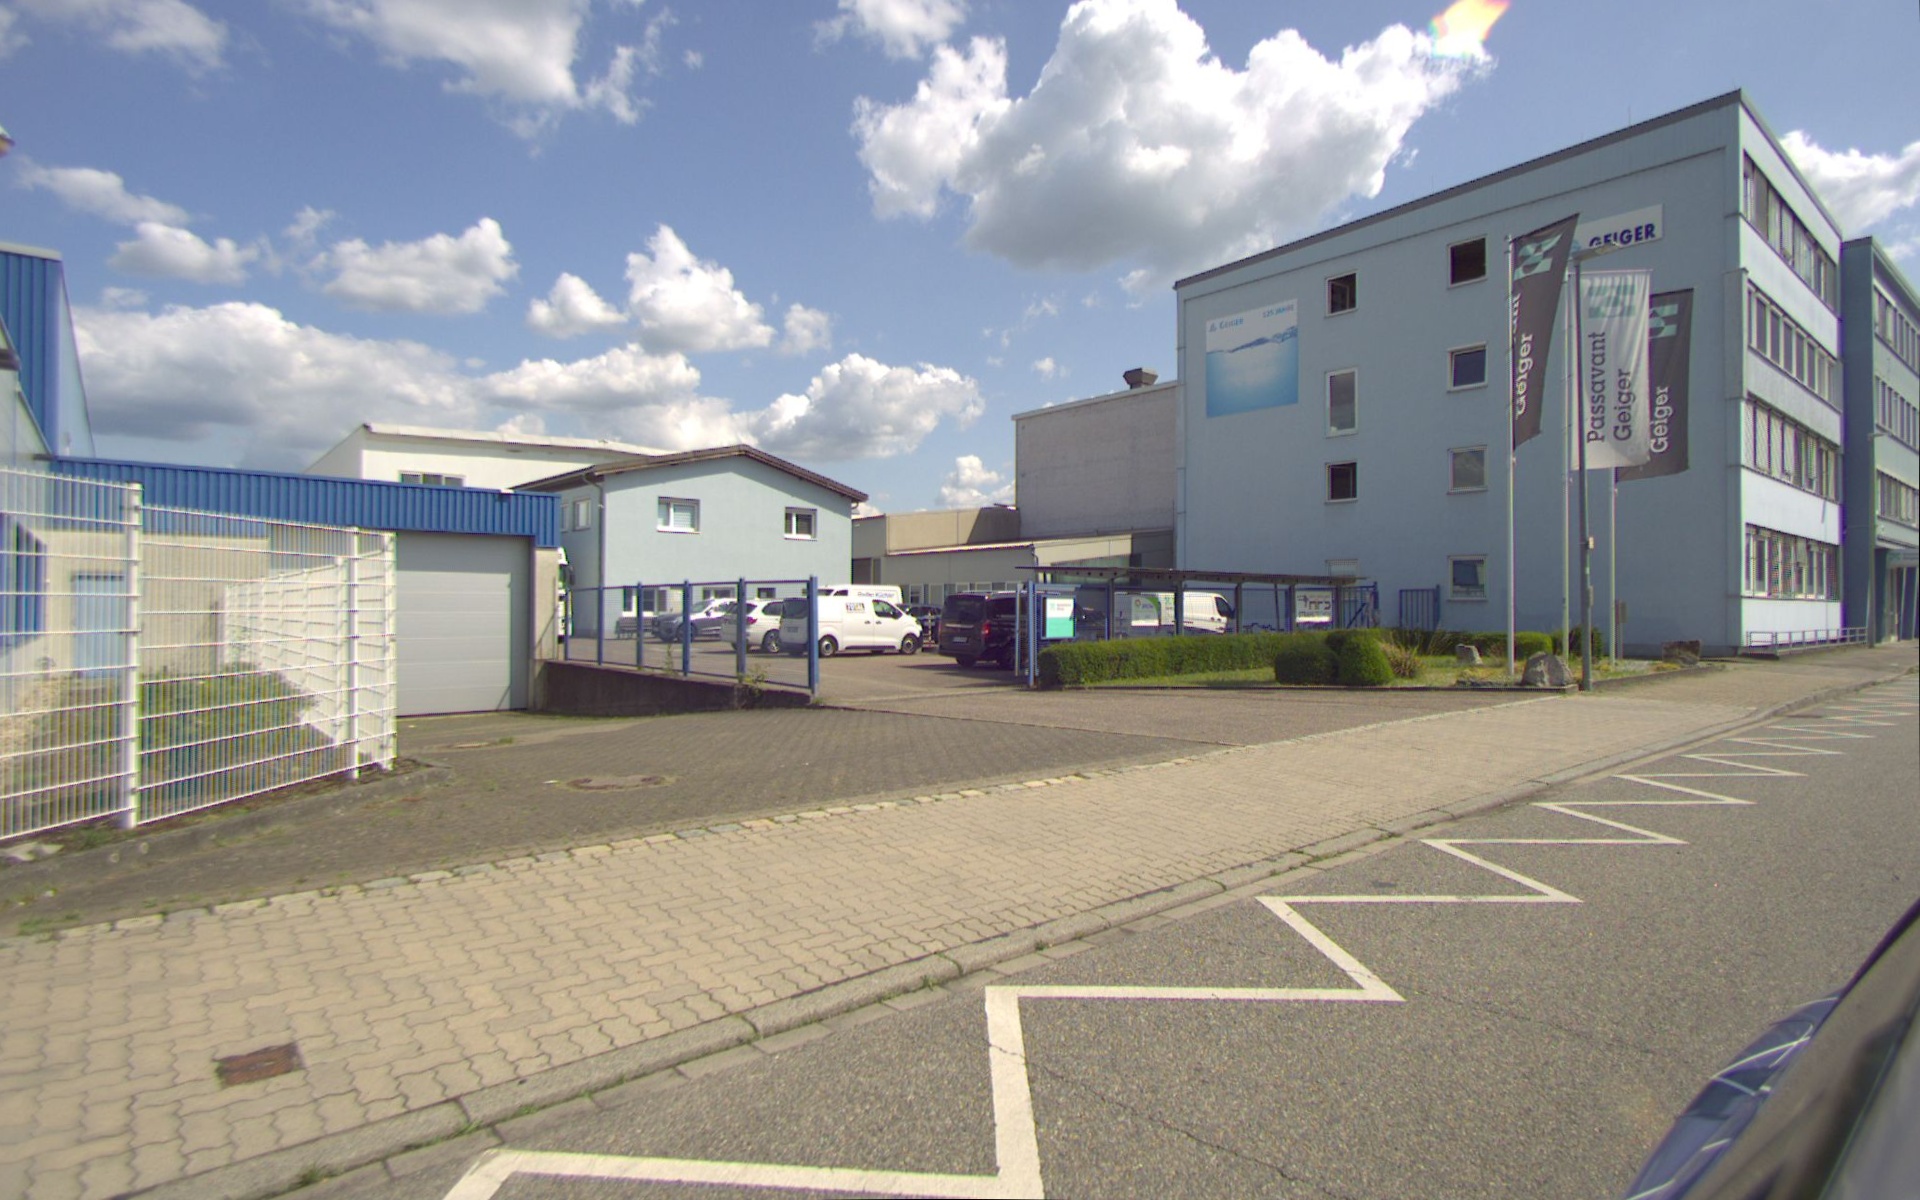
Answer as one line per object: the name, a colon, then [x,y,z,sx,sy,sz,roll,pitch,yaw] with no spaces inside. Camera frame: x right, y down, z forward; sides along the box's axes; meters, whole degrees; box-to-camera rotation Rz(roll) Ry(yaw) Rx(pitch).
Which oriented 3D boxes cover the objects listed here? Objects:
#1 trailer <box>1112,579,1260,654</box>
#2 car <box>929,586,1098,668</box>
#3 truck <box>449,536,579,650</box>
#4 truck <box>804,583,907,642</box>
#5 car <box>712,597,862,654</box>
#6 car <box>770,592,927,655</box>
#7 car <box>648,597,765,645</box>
trailer: [6.751,0.460,29.875,5.191,2.010,1.686,0,-1,-44]
car: [1.397,0.644,25.593,4.071,1.894,1.996,0,-1,-43]
truck: [-18.006,-0.362,40.394,2.580,4.048,9.661,0,1,-37]
truck: [-4.427,0.517,43.111,3.929,2.394,1.997,0,-1,-40]
car: [-5.679,0.812,33.533,4.554,1.760,1.996,0,-1,-43]
car: [-3.436,0.705,31.678,4.630,1.827,1.996,0,-1,-43]
car: [-9.670,0.789,38.728,3.929,1.723,1.858,0,-1,-40]
